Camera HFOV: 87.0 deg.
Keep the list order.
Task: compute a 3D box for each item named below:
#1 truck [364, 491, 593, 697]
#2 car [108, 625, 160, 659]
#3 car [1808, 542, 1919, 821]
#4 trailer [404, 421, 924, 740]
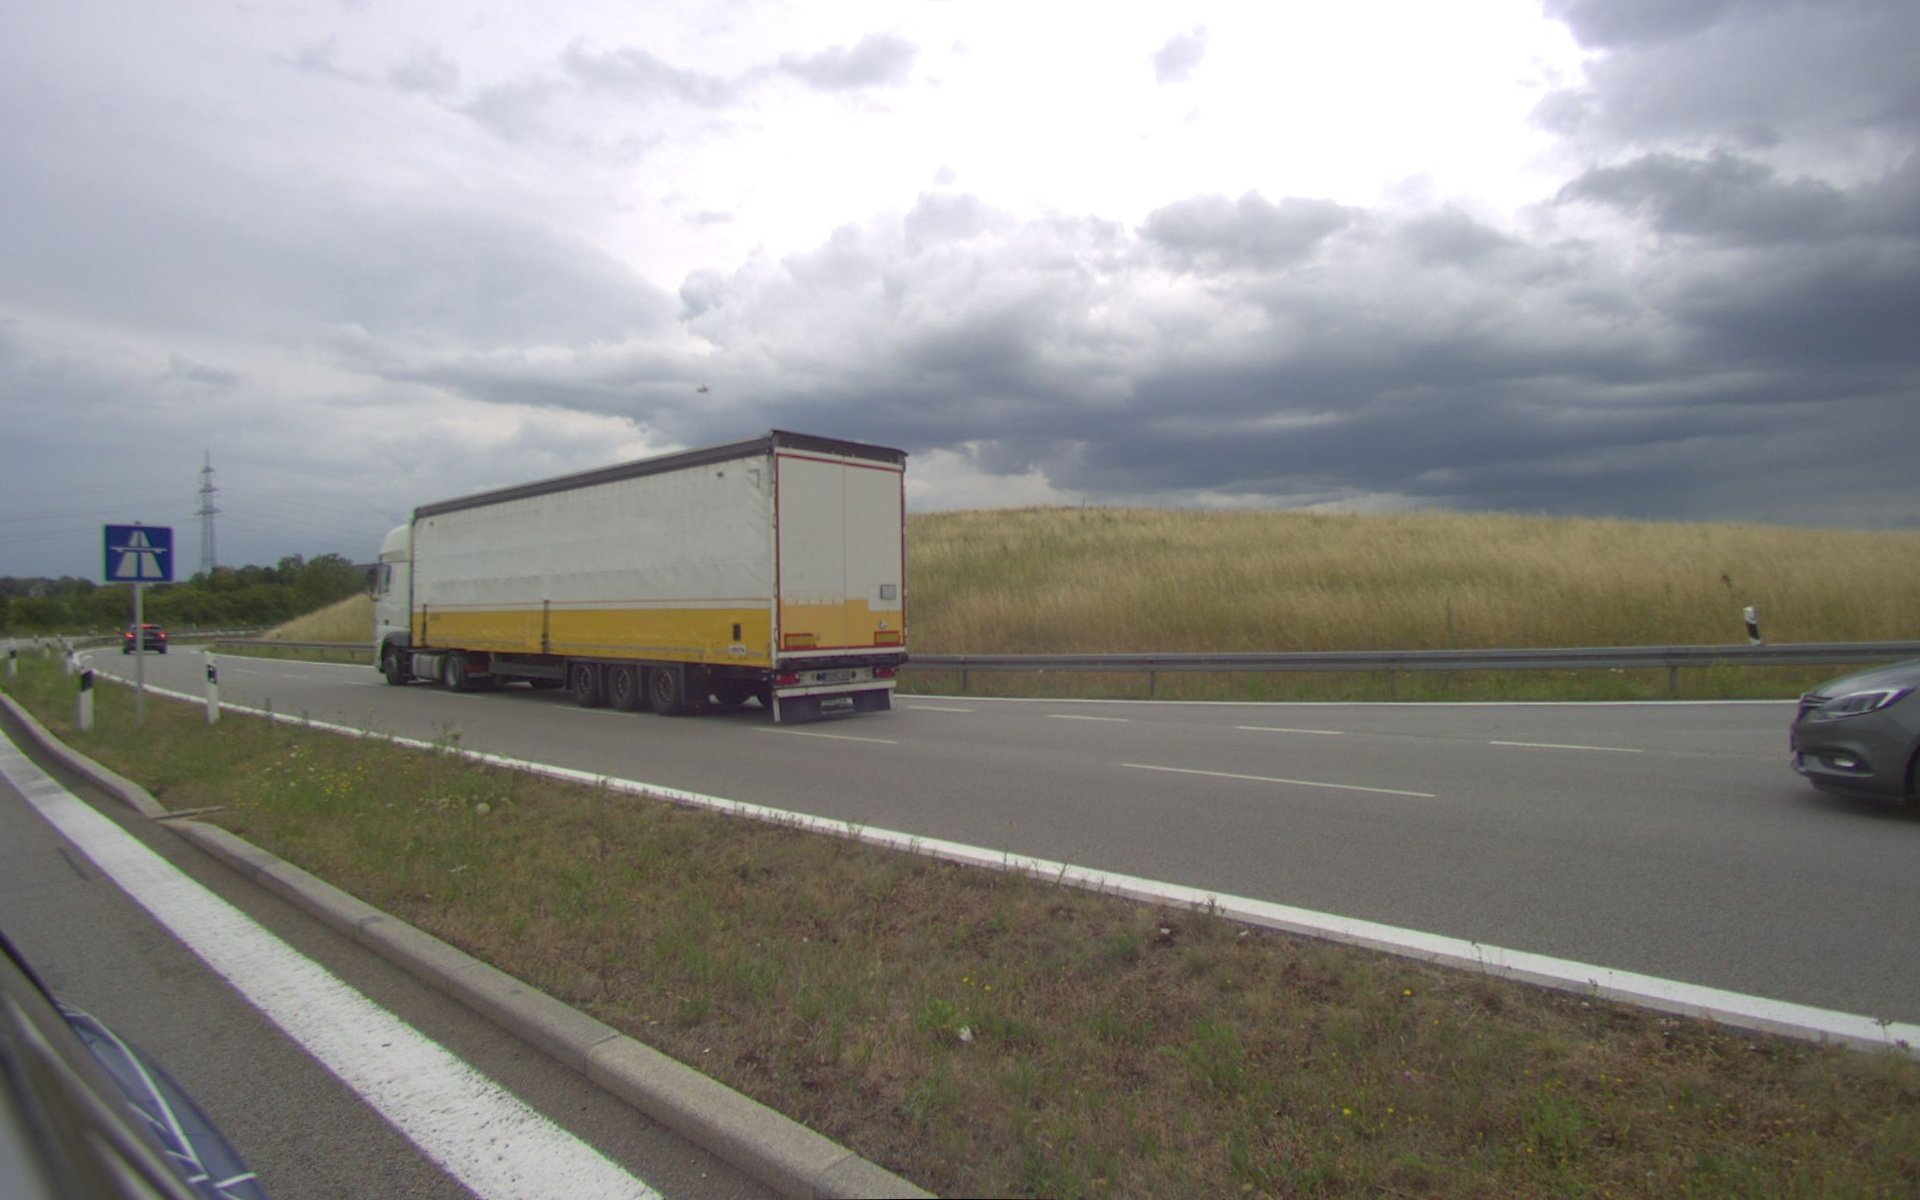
[{"bbox_3d":[-11.367,-0.105,23.602,6.403,4.172,2.621,-1,0,43],"label":"truck"},{"bbox_3d":[-44.892,2.231,54.967,1.970,1.696,4.118,-1,0,-42],"label":"car"},{"bbox_3d":[7.796,0.475,5.812,4.453,1.707,1.973,-1,0,41],"label":"car"},{"bbox_3d":[-6.546,-0.208,19.131,13.840,4.242,2.663,-1,0,43],"label":"trailer"}]
